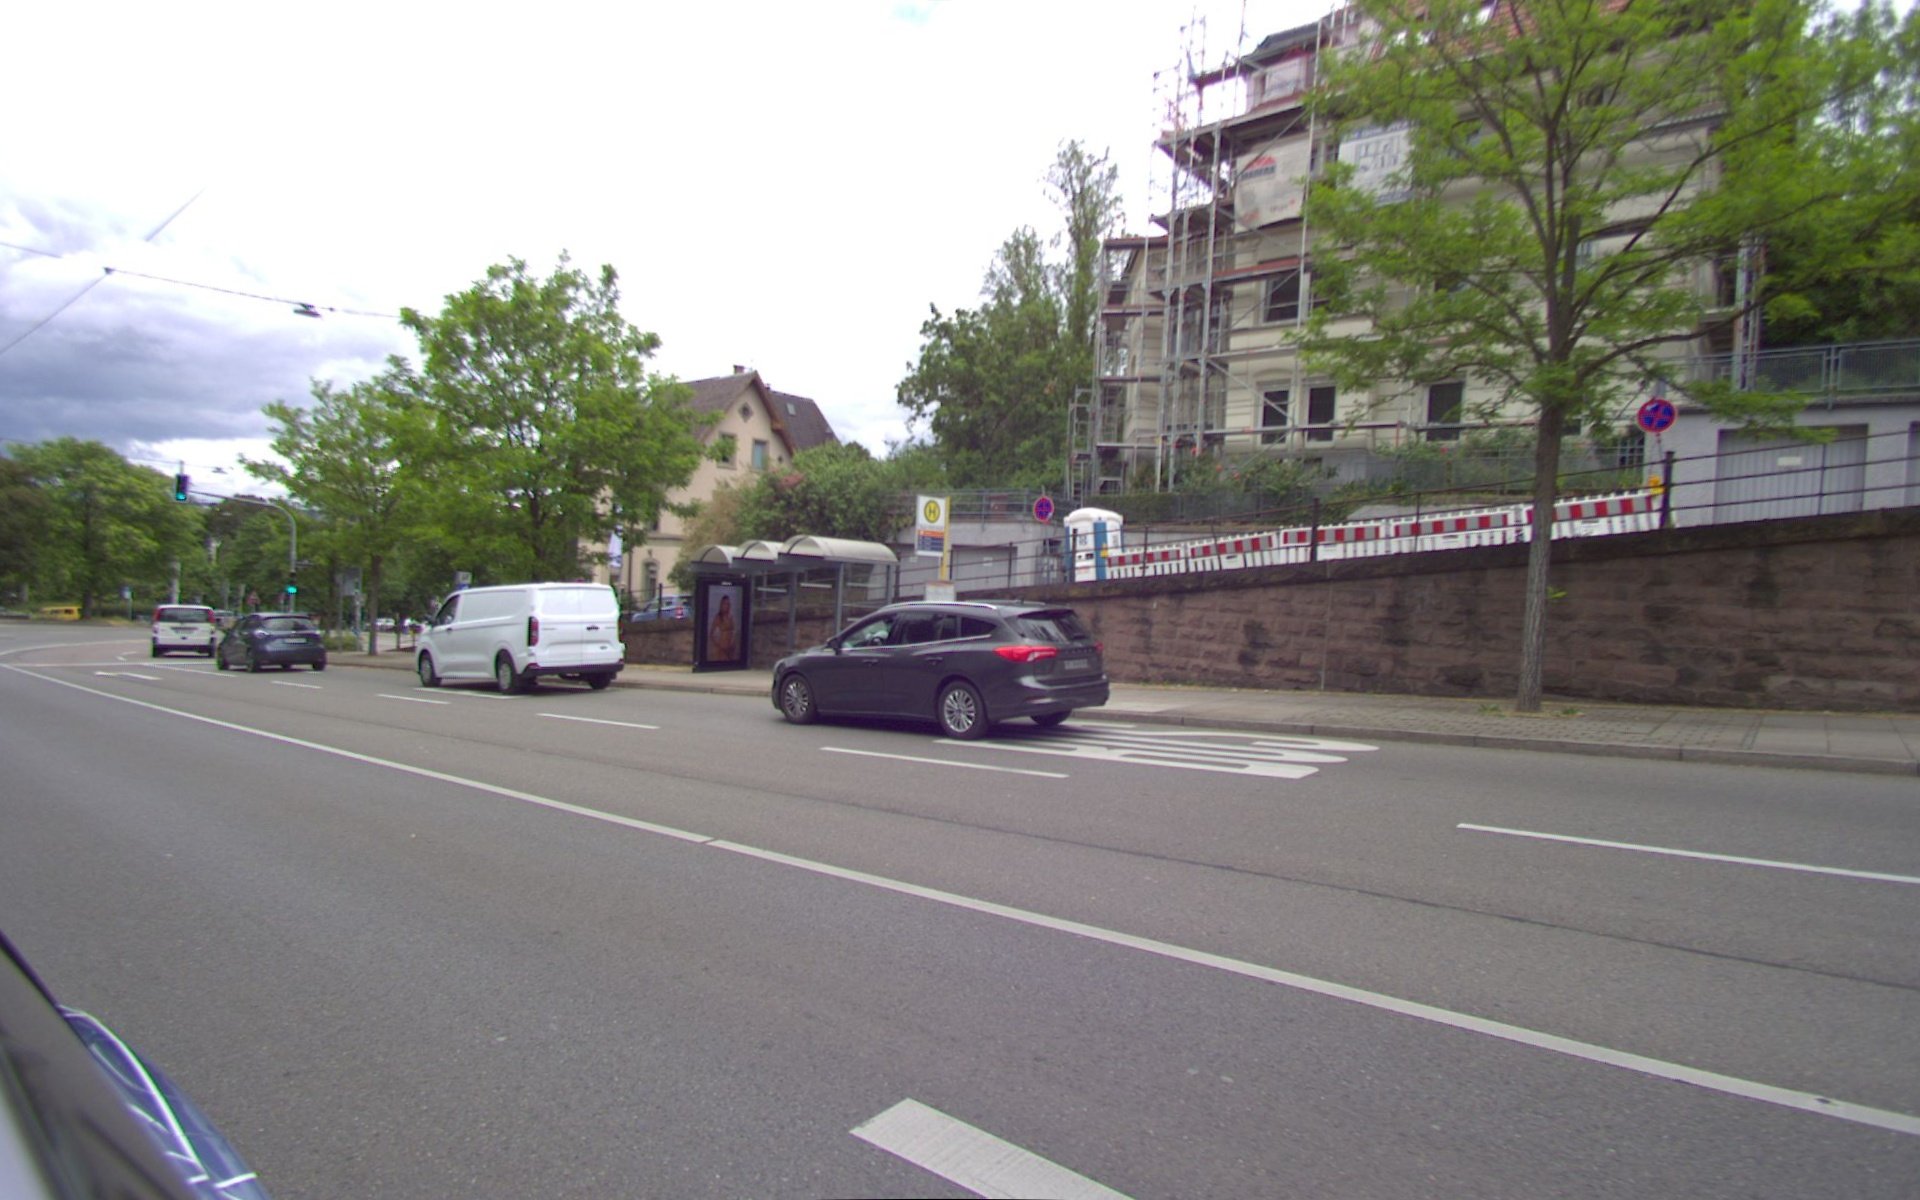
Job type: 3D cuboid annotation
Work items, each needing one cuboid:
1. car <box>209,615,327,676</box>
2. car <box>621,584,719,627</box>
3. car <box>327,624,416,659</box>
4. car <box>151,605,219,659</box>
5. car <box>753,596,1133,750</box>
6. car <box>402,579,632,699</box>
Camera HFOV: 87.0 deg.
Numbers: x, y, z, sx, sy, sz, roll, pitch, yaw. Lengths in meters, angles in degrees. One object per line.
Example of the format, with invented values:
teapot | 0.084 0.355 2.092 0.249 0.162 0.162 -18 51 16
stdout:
car | -18.534 1.179 27.058 3.798 1.503 1.677 -1 -1 40
car | -10.652 0.217 37.100 3.633 1.432 1.687 0 -4 41
car | -26.451 1.870 45.545 1.548 1.484 3.092 -1 -3 41
car | -28.856 1.203 37.807 1.769 1.878 4.862 2 -3 -35
car | -0.373 0.747 11.968 4.611 1.484 1.639 -2 -1 42
car | -8.697 0.726 19.588 5.422 2.029 1.973 -2 -1 41
